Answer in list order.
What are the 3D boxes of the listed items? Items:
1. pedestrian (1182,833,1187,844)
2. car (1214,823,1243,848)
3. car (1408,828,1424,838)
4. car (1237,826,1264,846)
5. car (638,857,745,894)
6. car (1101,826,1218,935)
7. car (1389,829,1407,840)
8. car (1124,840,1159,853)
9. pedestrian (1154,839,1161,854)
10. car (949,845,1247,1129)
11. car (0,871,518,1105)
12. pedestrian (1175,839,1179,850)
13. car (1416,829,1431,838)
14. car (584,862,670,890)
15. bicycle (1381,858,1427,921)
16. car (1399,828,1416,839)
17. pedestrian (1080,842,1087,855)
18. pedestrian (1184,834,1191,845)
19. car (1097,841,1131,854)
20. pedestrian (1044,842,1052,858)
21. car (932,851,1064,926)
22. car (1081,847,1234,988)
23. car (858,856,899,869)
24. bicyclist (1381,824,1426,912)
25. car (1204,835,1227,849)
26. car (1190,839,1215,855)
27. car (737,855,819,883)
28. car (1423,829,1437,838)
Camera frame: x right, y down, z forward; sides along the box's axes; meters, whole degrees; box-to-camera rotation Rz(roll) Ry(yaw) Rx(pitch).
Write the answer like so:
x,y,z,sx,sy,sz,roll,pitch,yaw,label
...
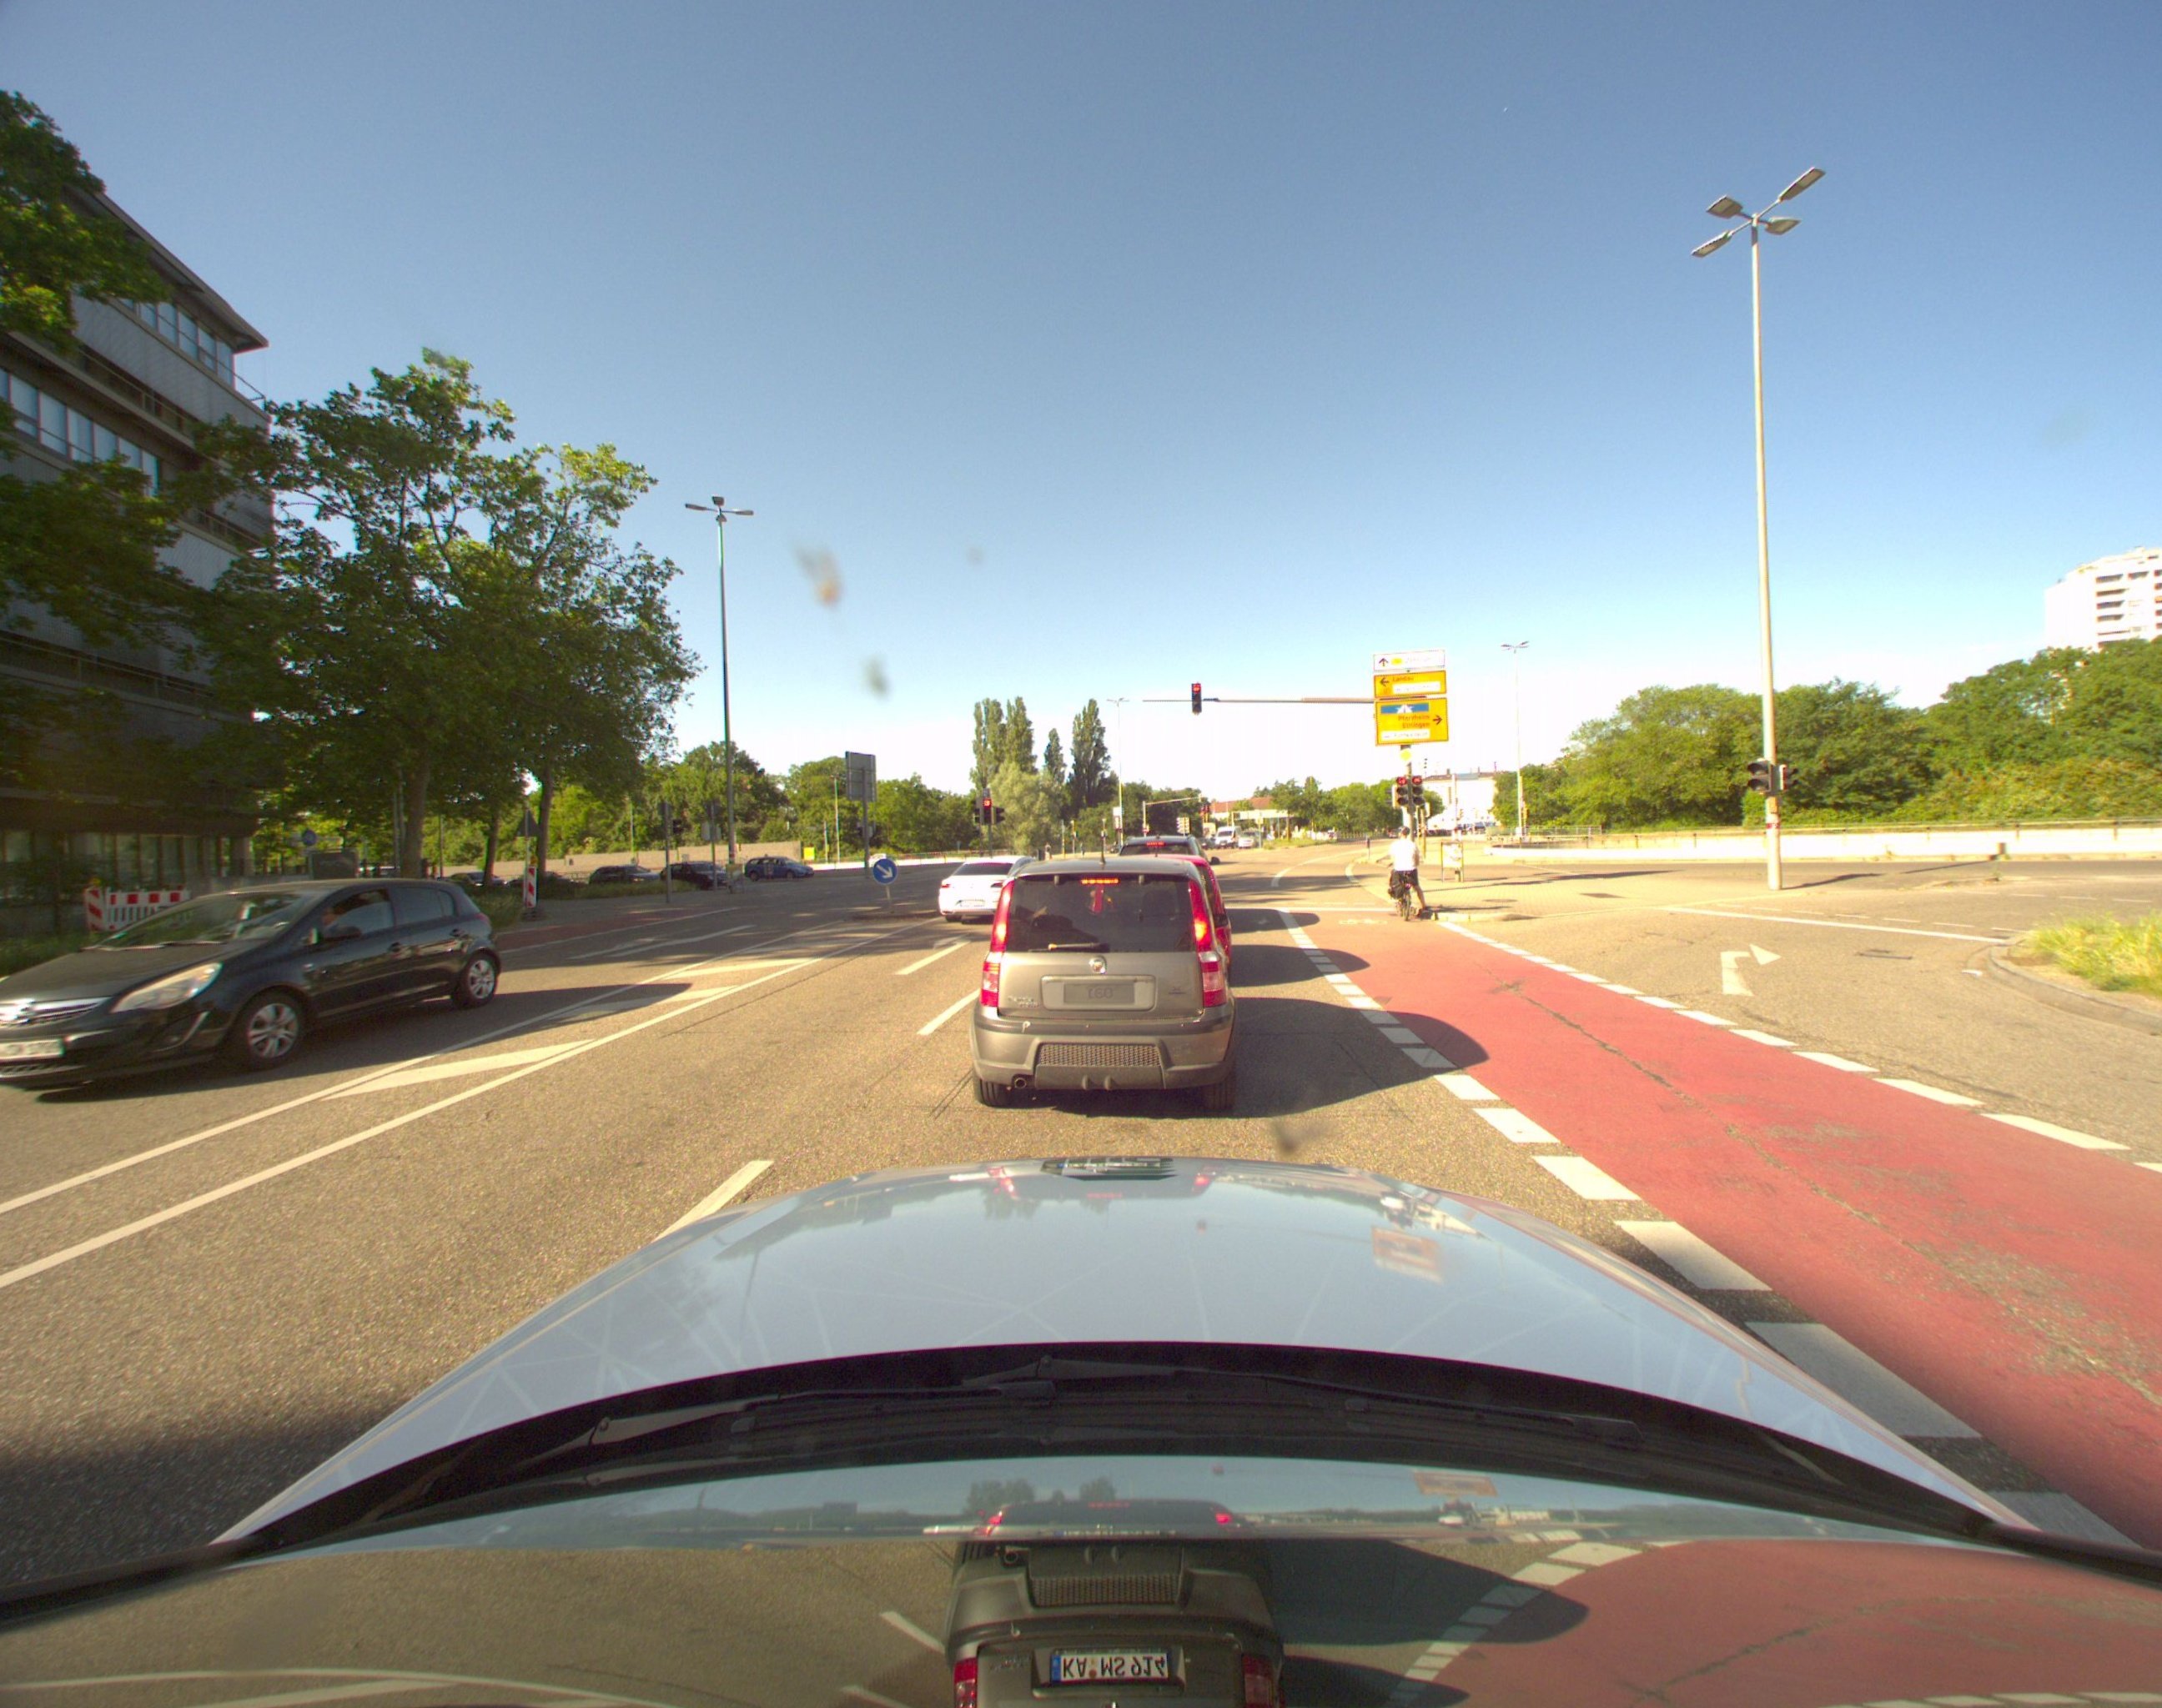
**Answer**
x,y,z,sx,sy,sz,roll,pitch,yaw,label
16.771,-2.523,131.840,0.713,1.641,0.676,-1,-1,27,pedestrian
16.450,-2.101,90.566,1.920,2.576,6.122,-2,1,22,car
56.662,-3.511,137.599,1.926,1.528,4.124,-2,1,31,car
18.068,-1.945,86.535,1.920,2.008,4.959,-2,1,22,car
-19.668,1.079,41.167,4.731,1.621,1.961,-2,1,18,car
1.705,0.424,16.246,1.933,1.840,4.165,-2,1,10,car
48.847,-3.035,125.443,1.926,1.528,4.123,-2,1,30,car
7.585,-0.957,102.044,4.351,1.535,1.764,-3,2,-39,car
8.351,-0.824,89.185,0.557,1.547,0.573,-3,-1,-14,pedestrian
0.320,0.735,6.427,1.609,1.515,3.828,-2,1,7,car
-7.139,0.949,7.397,1.565,1.407,3.816,-2,1,-5,car
15.157,-1.439,128.362,0.494,1.701,0.503,-1,-1,26,pedestrian
63.534,-3.844,151.012,1.926,1.528,4.123,-2,1,30,car
-24.932,1.206,44.678,4.452,1.358,1.892,-2,1,27,car
6.352,0.671,16.089,0.686,1.102,1.834,-1,1,17,bicycle
52.664,-3.318,131.319,1.926,1.528,4.123,-2,1,30,car
0.304,-0.675,100.489,0.710,1.547,0.725,-3,-2,-14,pedestrian
16.680,-2.298,127.708,0.782,1.664,0.633,-1,-1,42,pedestrian
4.267,-0.817,104.248,4.018,1.625,1.880,0,-1,-37,car
-3.060,-0.392,75.050,0.678,1.463,0.702,-2,1,-4,pedestrian
-1.731,0.698,18.580,1.769,1.415,4.333,-1,1,11,car
1.068,0.684,10.758,1.609,1.463,3.759,-2,1,7,car
-24.170,0.996,97.094,4.463,1.382,1.796,-1,1,23,car
6.318,0.255,16.009,0.718,1.659,1.118,-1,1,17,bicyclist
16.215,-1.481,98.164,1.795,1.541,4.641,-3,1,21,car
13.713,-0.793,91.616,1.920,1.507,4.020,-3,1,19,car
-18.909,0.955,50.920,4.410,1.540,1.960,-2,1,15,car
68.039,-4.038,158.918,1.926,1.528,4.123,-2,1,30,car
